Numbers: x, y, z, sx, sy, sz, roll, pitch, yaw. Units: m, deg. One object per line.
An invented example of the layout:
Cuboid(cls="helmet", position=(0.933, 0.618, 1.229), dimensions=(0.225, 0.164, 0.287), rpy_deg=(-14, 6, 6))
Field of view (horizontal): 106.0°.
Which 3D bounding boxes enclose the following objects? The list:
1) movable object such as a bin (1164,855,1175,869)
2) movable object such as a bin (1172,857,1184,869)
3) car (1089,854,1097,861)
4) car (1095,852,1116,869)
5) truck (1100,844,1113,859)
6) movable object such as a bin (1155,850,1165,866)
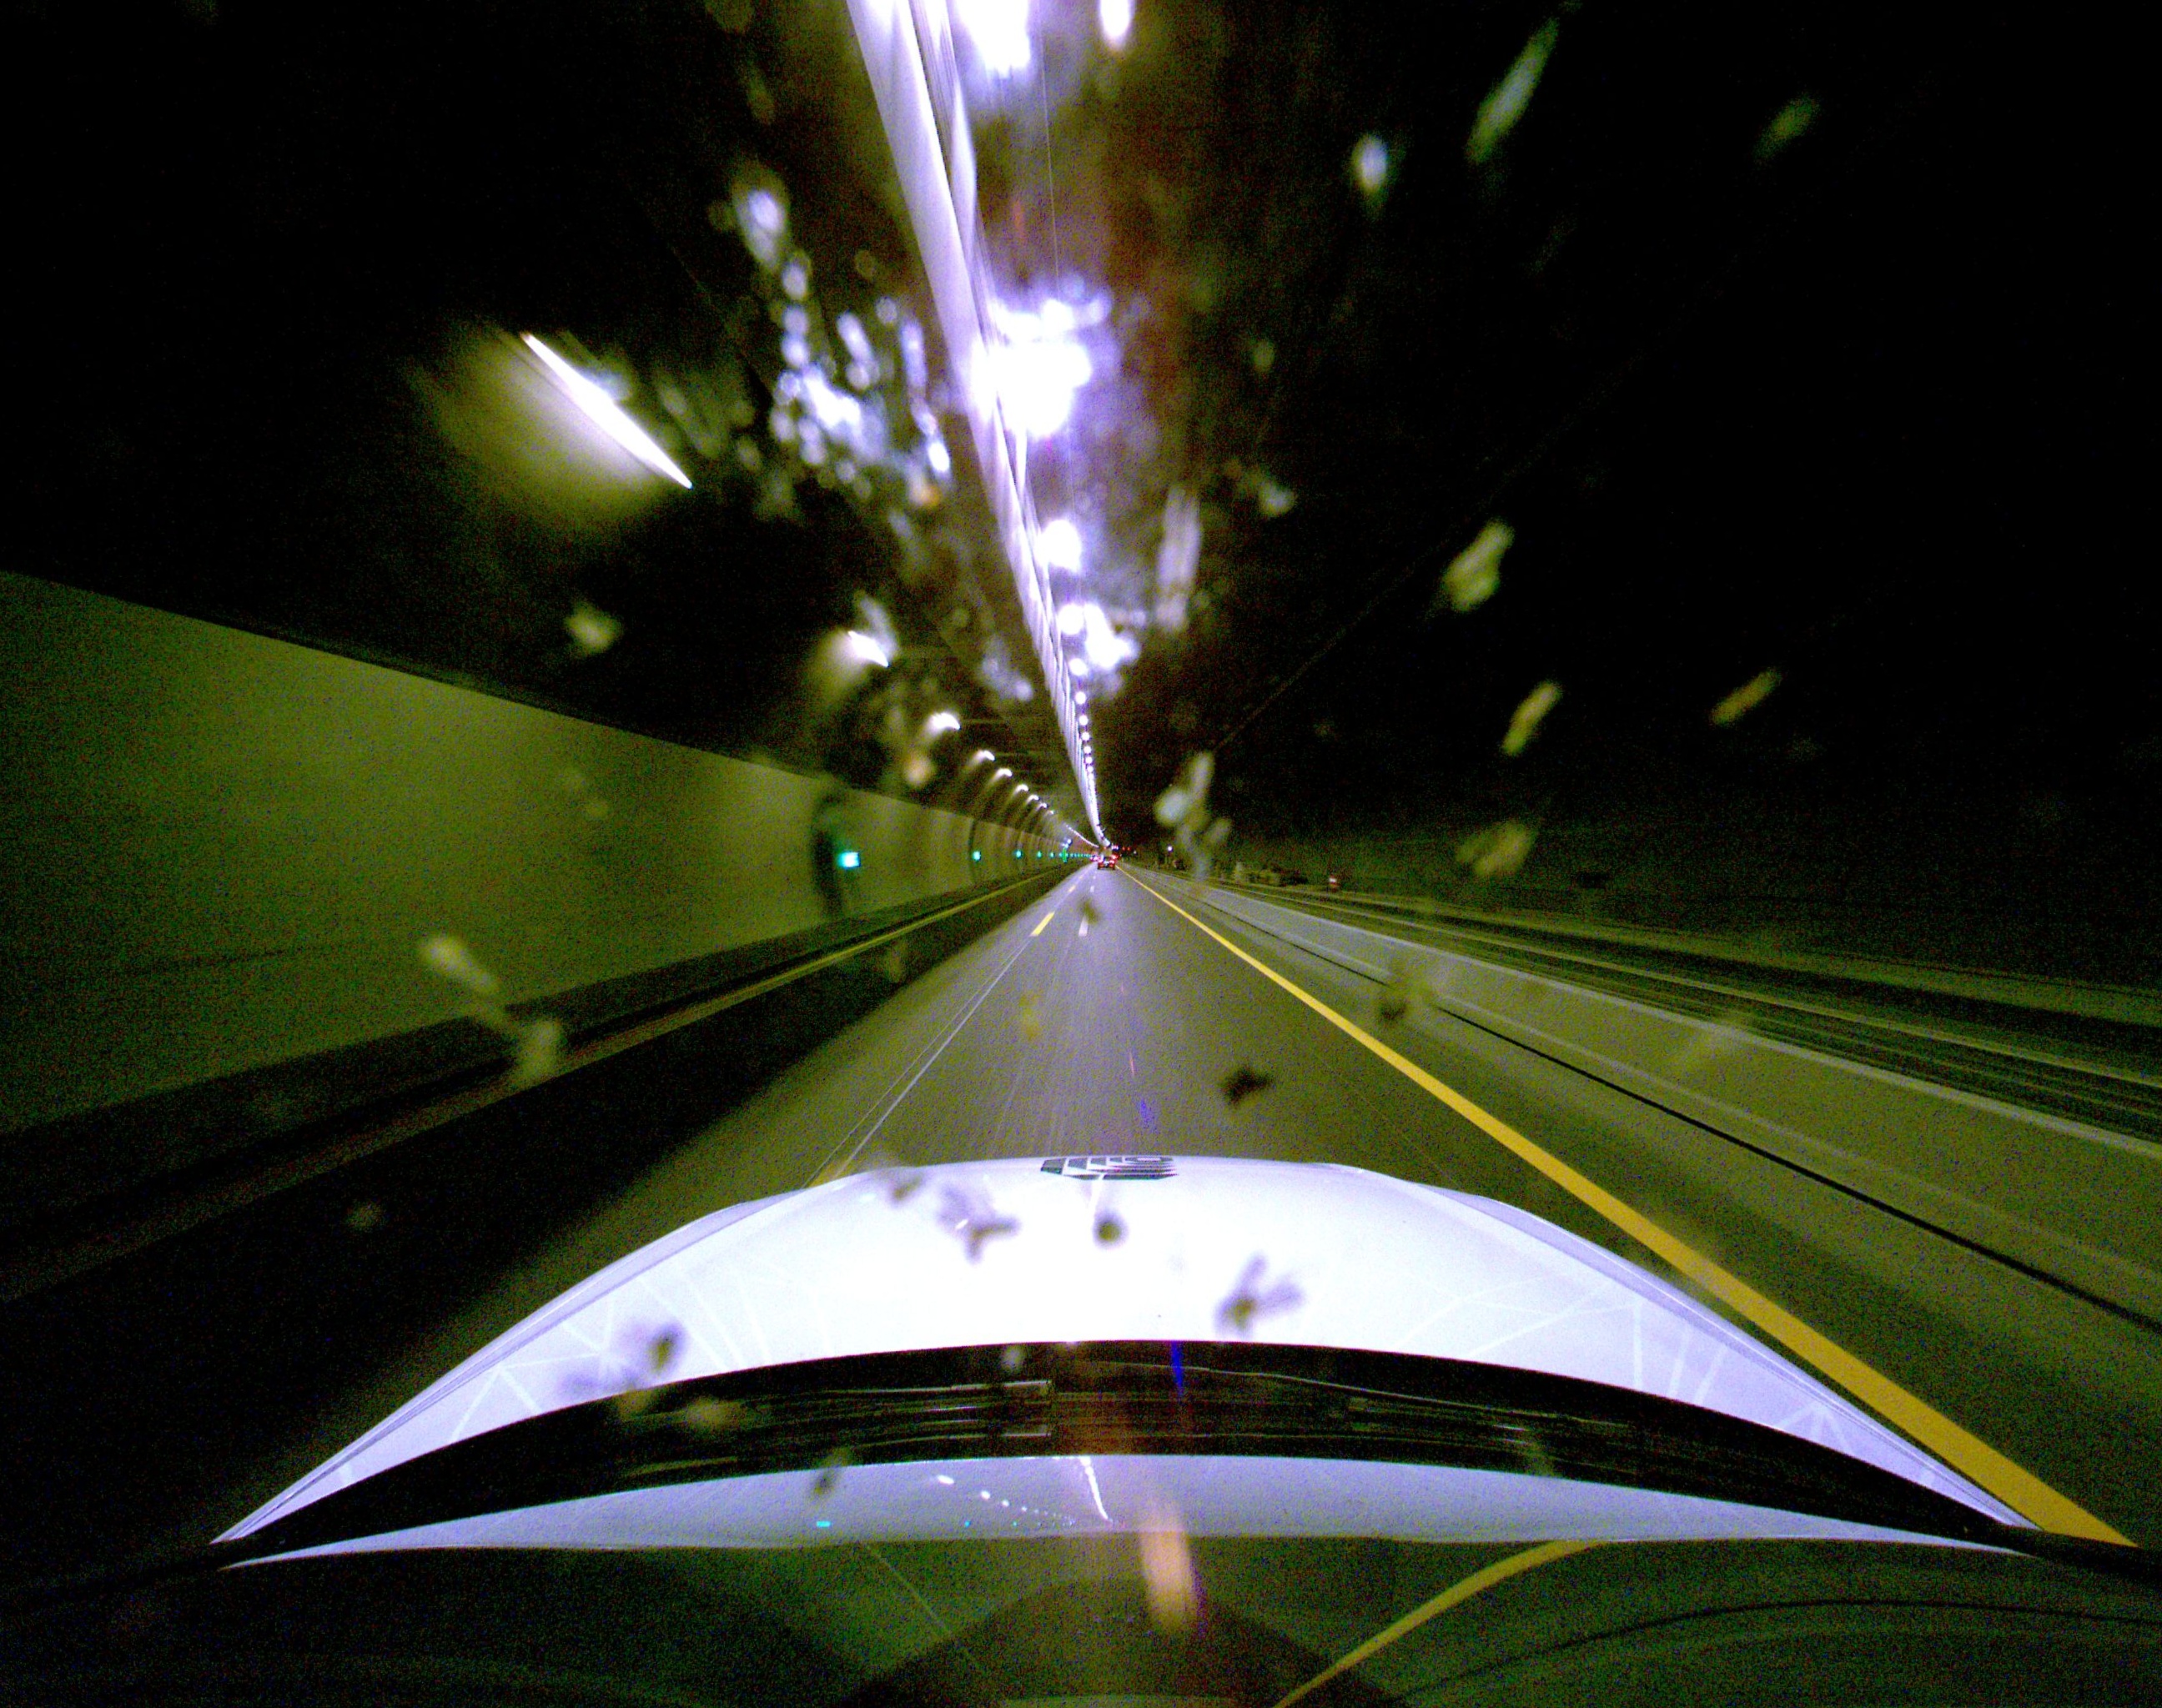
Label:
Cuboid(cls="movable object such as a bin", position=(11.501, 1.019, 106.200), dimensions=(1.230, 1.718, 2.217), rpy_deg=(1, 0, 1))
Cuboid(cls="movable object such as a bin", position=(11.292, 1.022, 94.834), dimensions=(1.230, 1.442, 2.217), rpy_deg=(1, 0, 1))
Cuboid(cls="car", position=(2.898, 0.827, 196.281), dimensions=(1.923, 1.687, 4.001), rpy_deg=(-1, 0, 1))
Cuboid(cls="car", position=(2.581, 0.674, 86.440), dimensions=(1.941, 1.794, 3.998), rpy_deg=(-1, 0, -1))
Cuboid(cls="truck", position=(8.288, -0.823, 265.436), dimensions=(4.051, 4.532, 14.970), rpy_deg=(-1, 0, 2))
Cuboid(cls="movable object such as a bin", position=(10.938, 0.593, 112.883), dimensions=(1.230, 2.141, 2.217), rpy_deg=(1, 0, 1))
